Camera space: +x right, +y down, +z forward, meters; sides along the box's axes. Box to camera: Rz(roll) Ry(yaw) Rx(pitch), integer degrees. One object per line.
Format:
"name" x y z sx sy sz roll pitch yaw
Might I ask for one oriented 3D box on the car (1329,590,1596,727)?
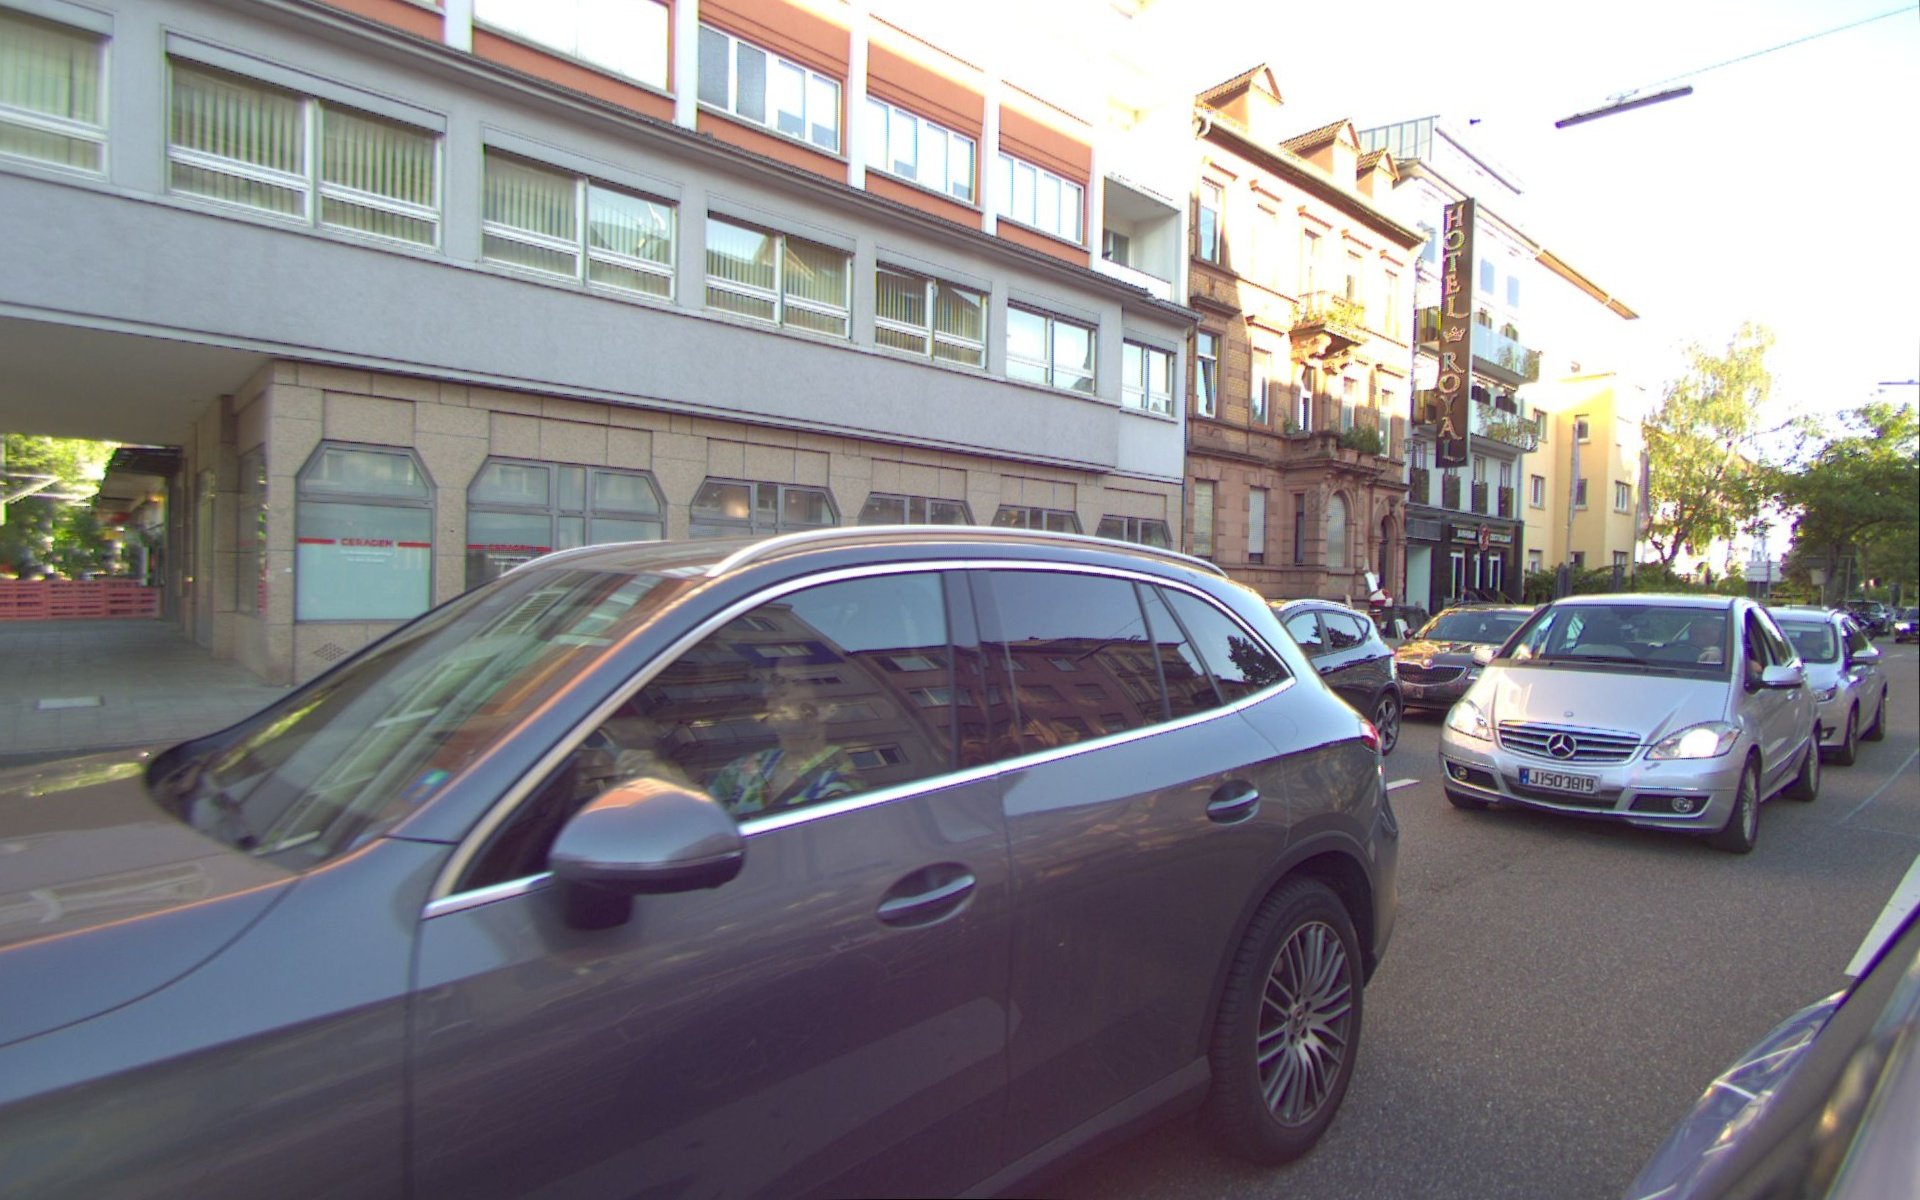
"car" 6.645 0.647 13.186 4.087 1.475 1.710 0 2 -42

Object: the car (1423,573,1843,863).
"car" 5.112 0.644 7.516 3.557 1.588 1.806 0 2 -43

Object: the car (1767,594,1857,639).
"car" 32.907 0.601 39.024 4.749 1.531 1.860 0 3 -41

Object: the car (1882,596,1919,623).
"car" 56.022 0.547 59.845 4.408 1.466 1.773 0 2 -43

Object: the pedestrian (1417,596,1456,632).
"pedestrian" 14.344 0.412 30.470 0.928 1.056 0.692 1 1 -39

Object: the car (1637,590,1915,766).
"car" 8.949 0.685 10.967 4.235 1.529 1.710 0 0 -42

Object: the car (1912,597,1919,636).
"car" 40.483 0.685 41.405 3.933 1.553 1.996 0 1 -44

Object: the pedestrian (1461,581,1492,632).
"pedestrian" 17.432 0.209 34.172 0.681 1.664 0.708 1 1 -42

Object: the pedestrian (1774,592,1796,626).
"pedestrian" 40.960 0.428 50.227 0.570 1.636 0.747 1 1 -44

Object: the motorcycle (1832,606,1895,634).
"motorcycle" 38.909 0.857 43.622 1.921 1.084 0.809 2 1 37

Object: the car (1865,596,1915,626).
"car" 50.983 0.576 55.448 4.358 1.490 1.718 0 2 -44

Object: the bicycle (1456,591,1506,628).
"bicycle" 17.649 0.319 34.315 1.415 1.124 0.483 5 3 31

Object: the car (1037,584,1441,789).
"car" 2.754 0.627 9.421 4.166 1.503 1.653 0 0 -42

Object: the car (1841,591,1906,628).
"car" 44.699 0.449 49.467 4.715 1.675 1.950 0 2 -43

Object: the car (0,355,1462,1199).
"car" -0.663 0.583 2.325 4.402 1.653 1.786 0 1 -43
